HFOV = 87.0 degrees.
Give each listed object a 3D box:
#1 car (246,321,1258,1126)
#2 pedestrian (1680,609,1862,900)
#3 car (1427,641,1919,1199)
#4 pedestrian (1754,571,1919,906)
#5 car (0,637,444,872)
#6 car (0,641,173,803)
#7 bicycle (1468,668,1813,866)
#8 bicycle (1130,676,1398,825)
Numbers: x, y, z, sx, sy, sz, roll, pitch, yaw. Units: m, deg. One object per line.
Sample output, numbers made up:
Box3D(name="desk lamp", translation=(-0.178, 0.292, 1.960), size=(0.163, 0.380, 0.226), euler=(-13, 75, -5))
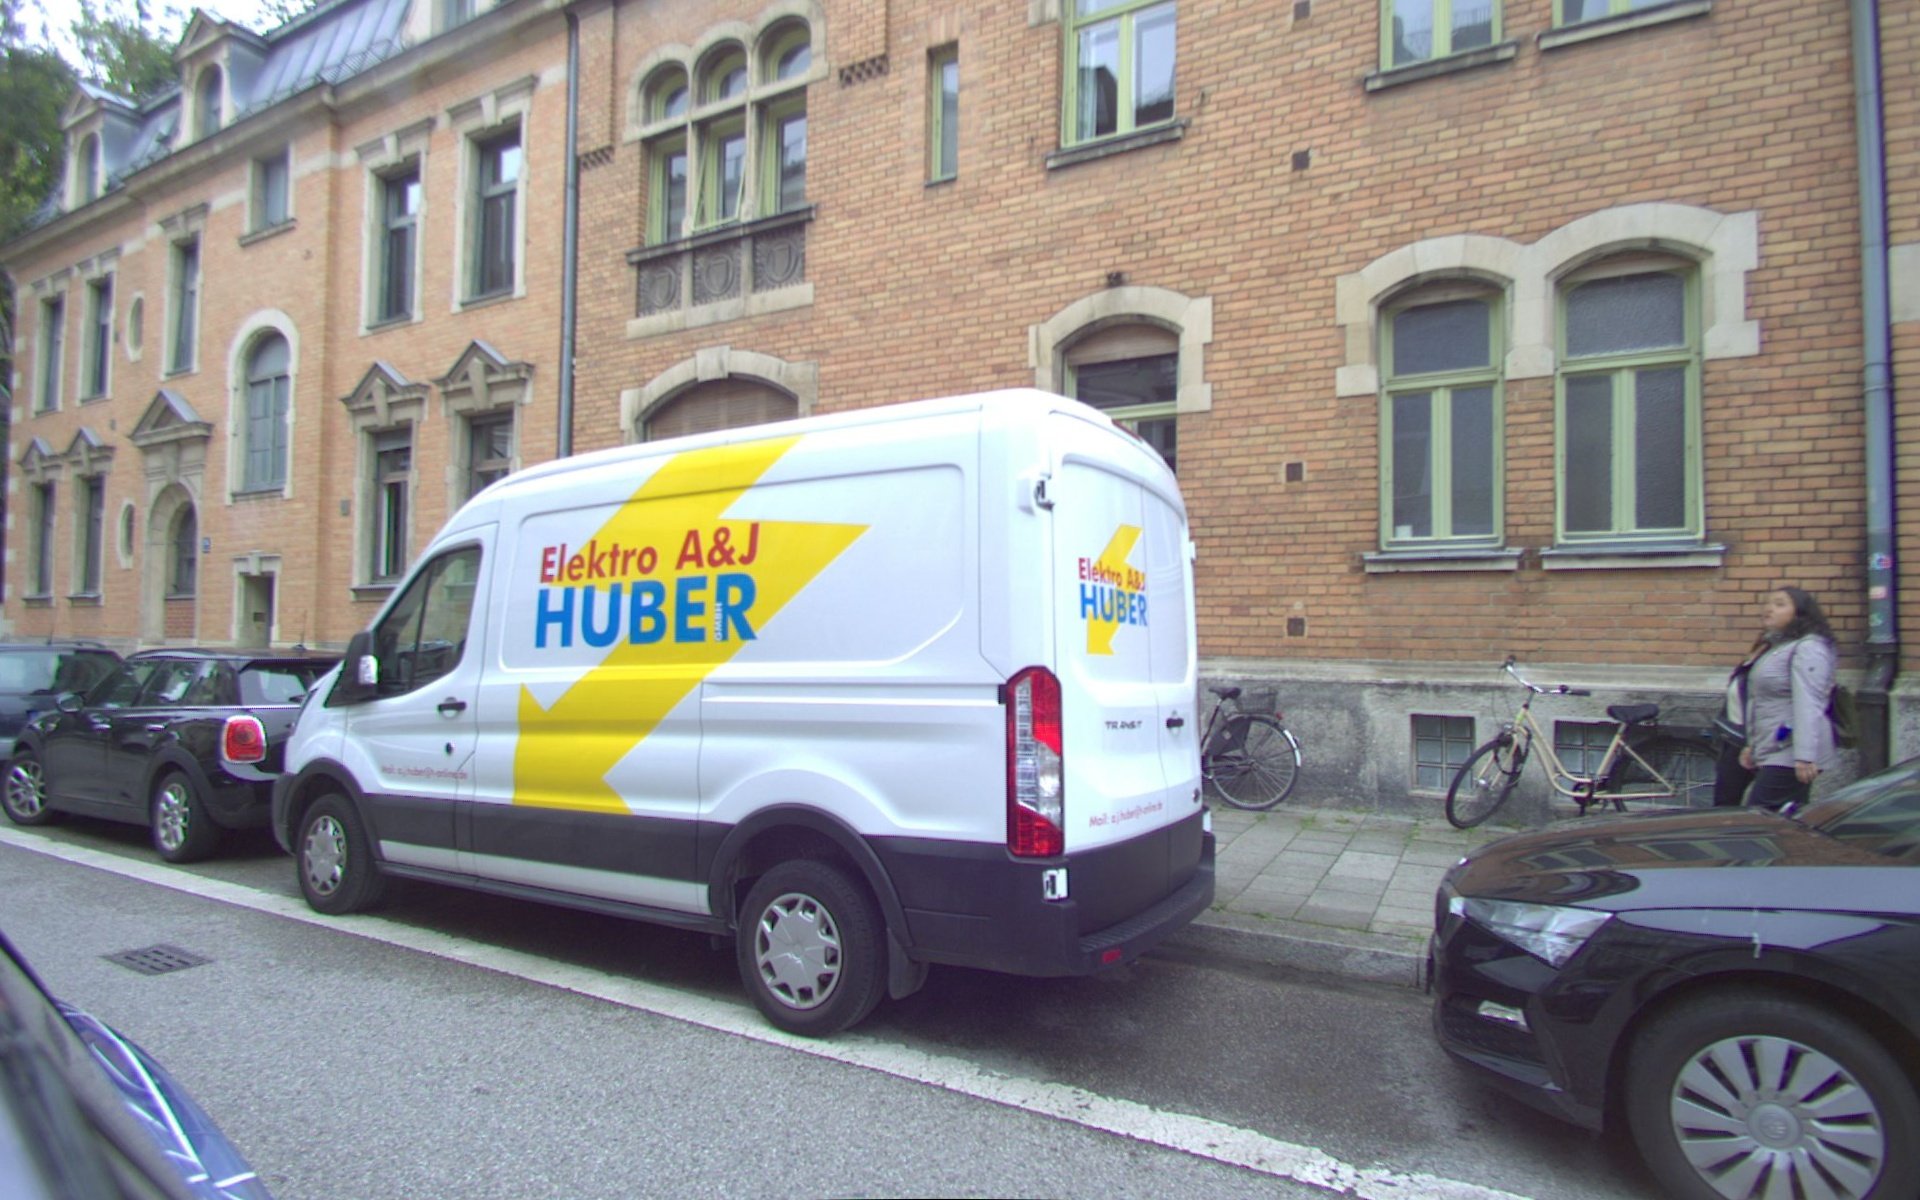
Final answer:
Box3D(name="car", translation=(-1.290, 0.458, 5.335), size=(5.202, 2.497, 1.967), euler=(-1, -4, 30))
Box3D(name="pedestrian", translation=(4.618, 0.818, 5.818), size=(0.725, 1.524, 0.690), euler=(-1, 0, 33))
Box3D(name="car", translation=(3.513, 0.863, 2.559), size=(4.127, 1.454, 1.678), euler=(-1, -4, 29))
Box3D(name="pedestrian", translation=(4.428, 0.631, 4.987), size=(0.725, 1.524, 0.690), euler=(-1, 0, 33))
Box3D(name="car", translation=(-5.831, 1.049, 7.844), size=(3.525, 1.454, 1.512), euler=(-1, -5, 29))
Box3D(name="car", translation=(-10.175, 1.178, 10.518), size=(3.967, 1.454, 1.678), euler=(-1, -5, 29))
Box3D(name="bicycle", translation=(4.465, 1.049, 6.805), size=(1.821, 1.137, 0.626), euler=(-1, -3, 31))
Box3D(name="bicycle", translation=(2.321, 1.116, 7.858), size=(1.916, 0.993, 0.498), euler=(-2, -1, 31))
